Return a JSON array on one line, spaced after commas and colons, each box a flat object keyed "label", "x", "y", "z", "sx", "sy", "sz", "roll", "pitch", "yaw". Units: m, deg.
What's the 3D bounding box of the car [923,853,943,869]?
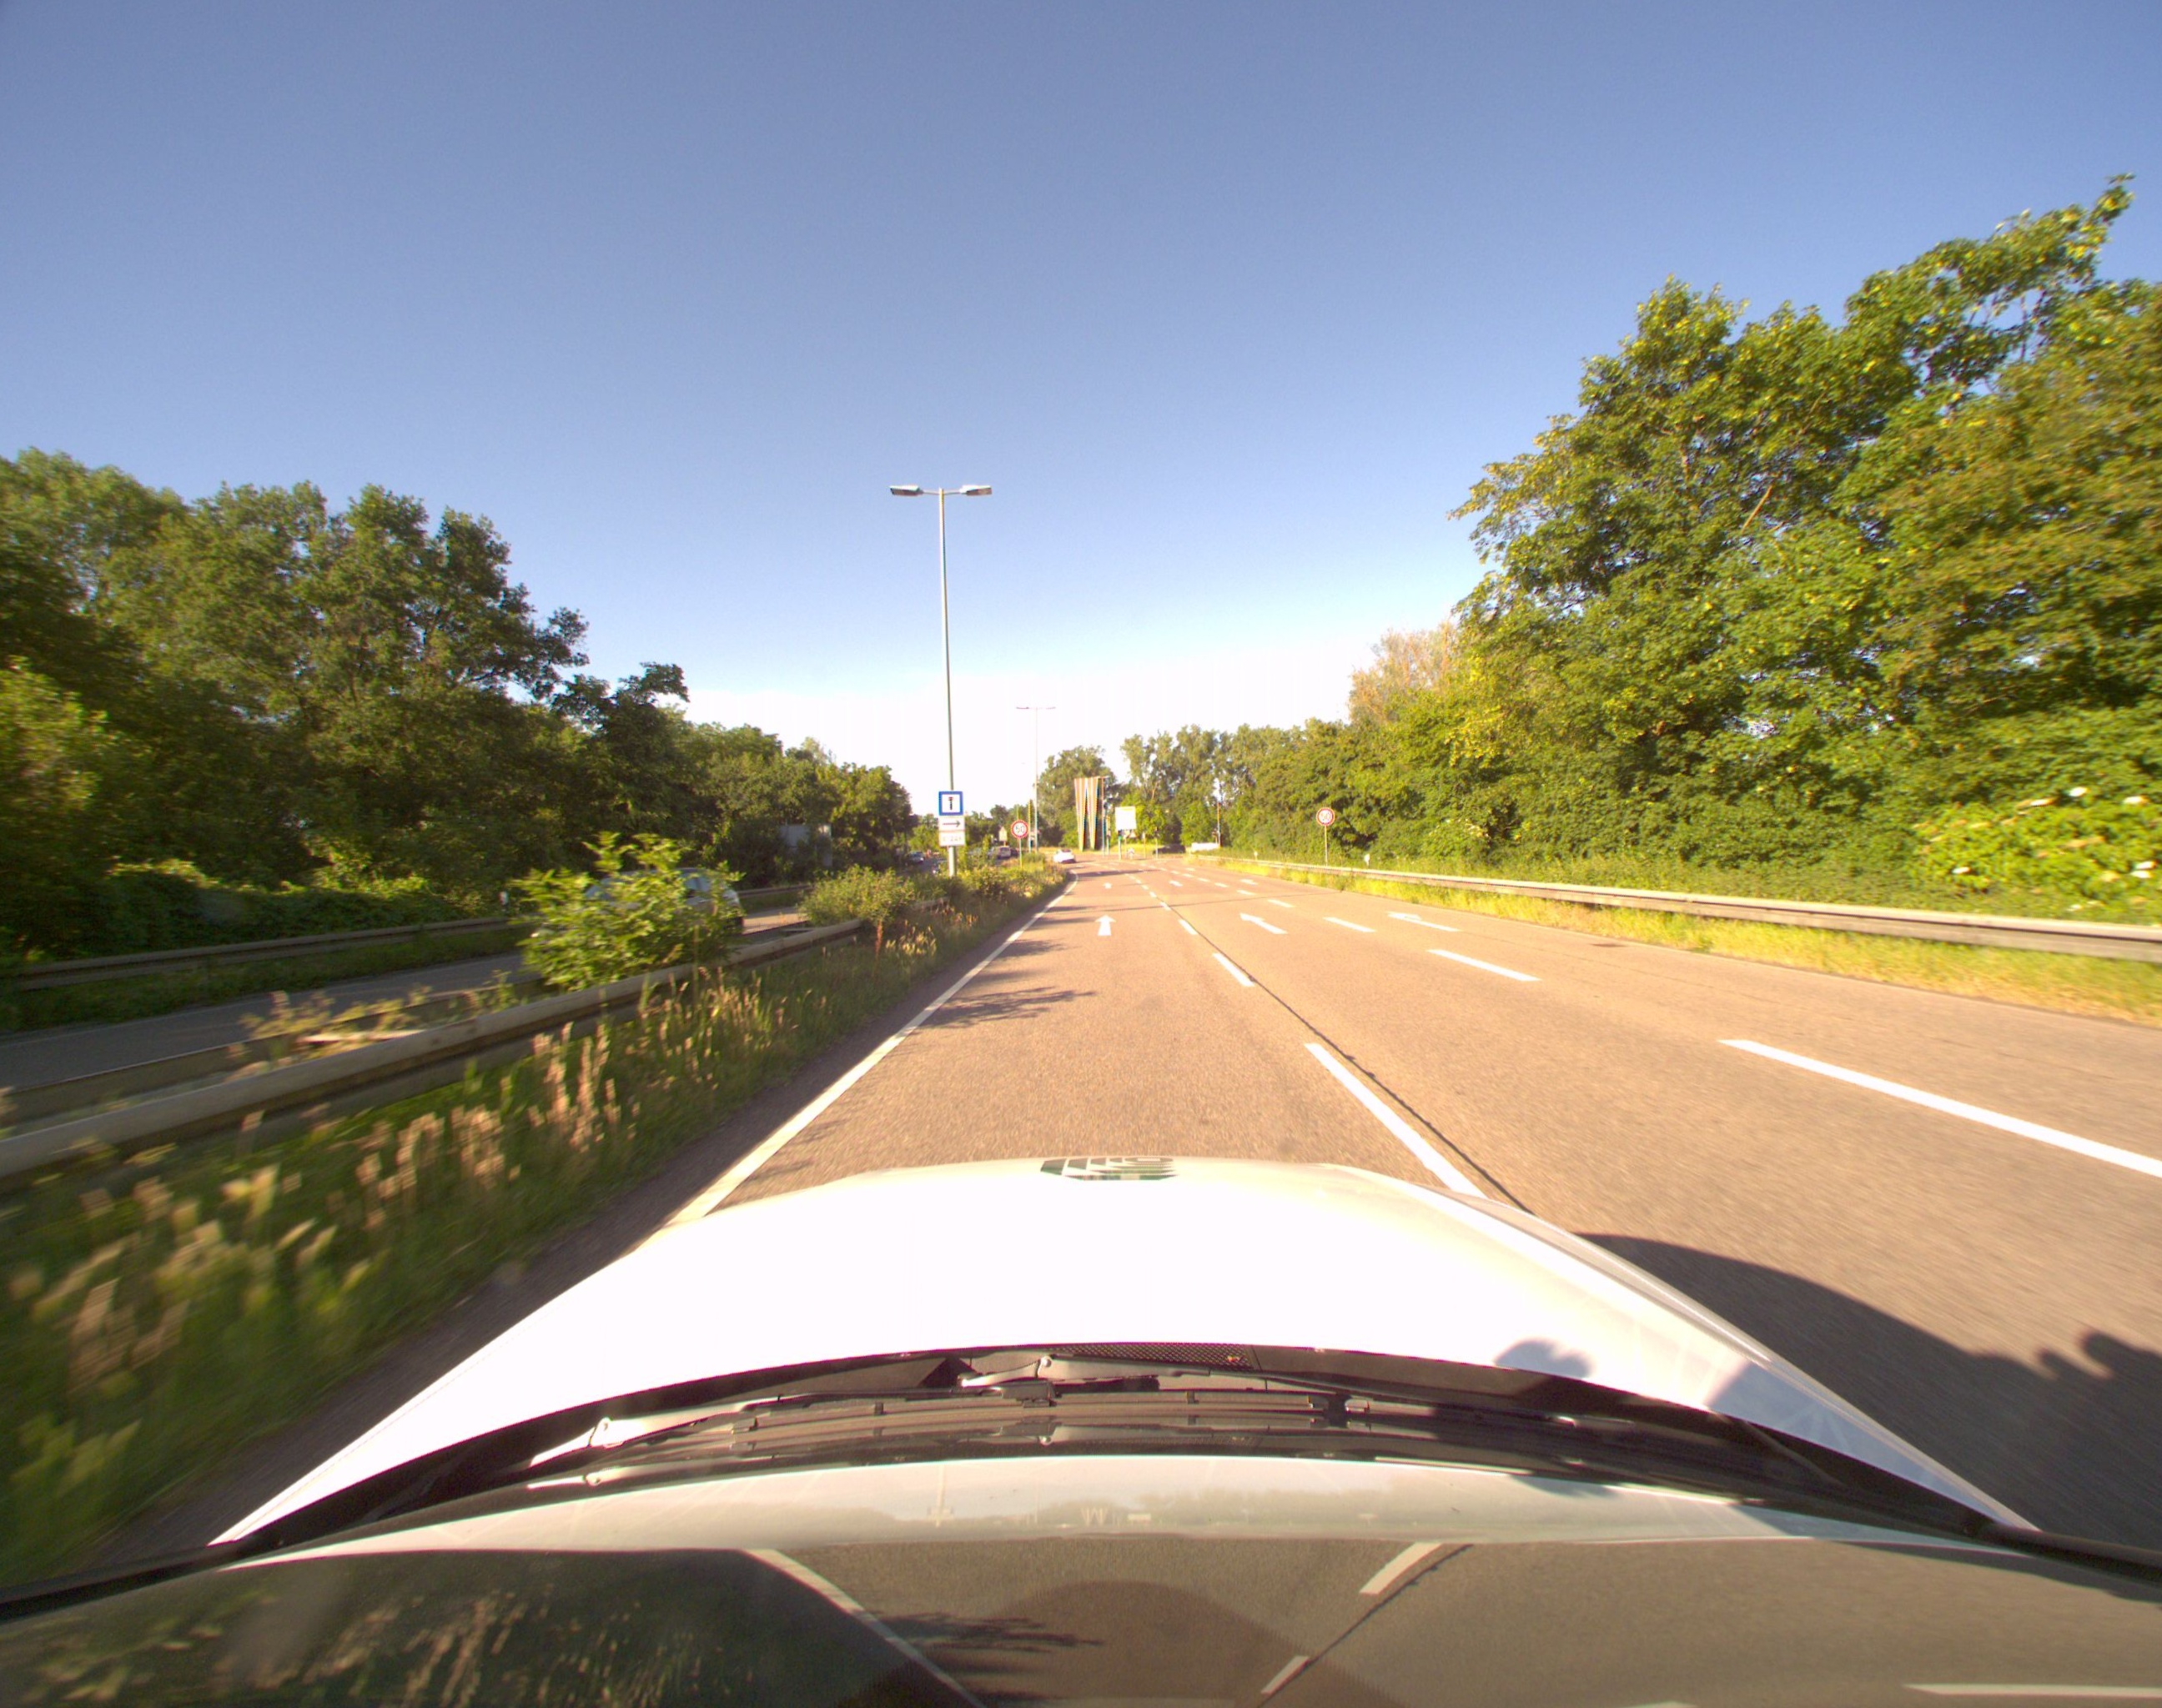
[{"label": "car", "x": -15.507, "y": 0.740, "z": 84.943, "sx": 1.887, "sy": 1.420, "sz": 4.347, "roll": -4, "pitch": 0, "yaw": -11}]

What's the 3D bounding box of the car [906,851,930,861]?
[{"label": "car", "x": -28.243, "y": 0.344, "z": 141.292, "sx": 2.287, "sy": 1.508, "sz": 3.950, "roll": -2, "pitch": 0, "yaw": -44}]

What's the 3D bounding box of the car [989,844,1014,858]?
[{"label": "car", "x": -11.430, "y": -0.369, "z": 116.550, "sx": 2.006, "sy": 1.879, "sz": 4.208, "roll": -3, "pitch": 1, "yaw": -30}]

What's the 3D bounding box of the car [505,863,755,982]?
[{"label": "car", "x": -7.317, "y": 1.007, "z": 13.789, "sx": 1.763, "sy": 1.569, "sz": 4.219, "roll": -3, "pitch": 0, "yaw": 1}]

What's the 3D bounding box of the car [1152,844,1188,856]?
[{"label": "car", "x": 11.814, "y": -0.554, "z": 108.643, "sx": 4.454, "sy": 1.464, "sz": 1.995, "roll": -2, "pitch": 1, "yaw": -7}]

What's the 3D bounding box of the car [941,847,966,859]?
[{"label": "car", "x": -20.148, "y": -0.145, "z": 128.869, "sx": 1.987, "sy": 1.698, "sz": 3.950, "roll": -3, "pitch": 2, "yaw": -45}]

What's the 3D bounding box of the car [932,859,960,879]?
[{"label": "car", "x": -10.279, "y": 1.120, "z": 62.228, "sx": 1.803, "sy": 1.416, "sz": 4.520, "roll": -3, "pitch": 0, "yaw": -7}]

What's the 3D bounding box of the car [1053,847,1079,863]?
[{"label": "car", "x": -1.682, "y": 0.118, "z": 89.039, "sx": 1.996, "sy": 1.640, "sz": 4.110, "roll": -2, "pitch": 1, "yaw": -13}]
